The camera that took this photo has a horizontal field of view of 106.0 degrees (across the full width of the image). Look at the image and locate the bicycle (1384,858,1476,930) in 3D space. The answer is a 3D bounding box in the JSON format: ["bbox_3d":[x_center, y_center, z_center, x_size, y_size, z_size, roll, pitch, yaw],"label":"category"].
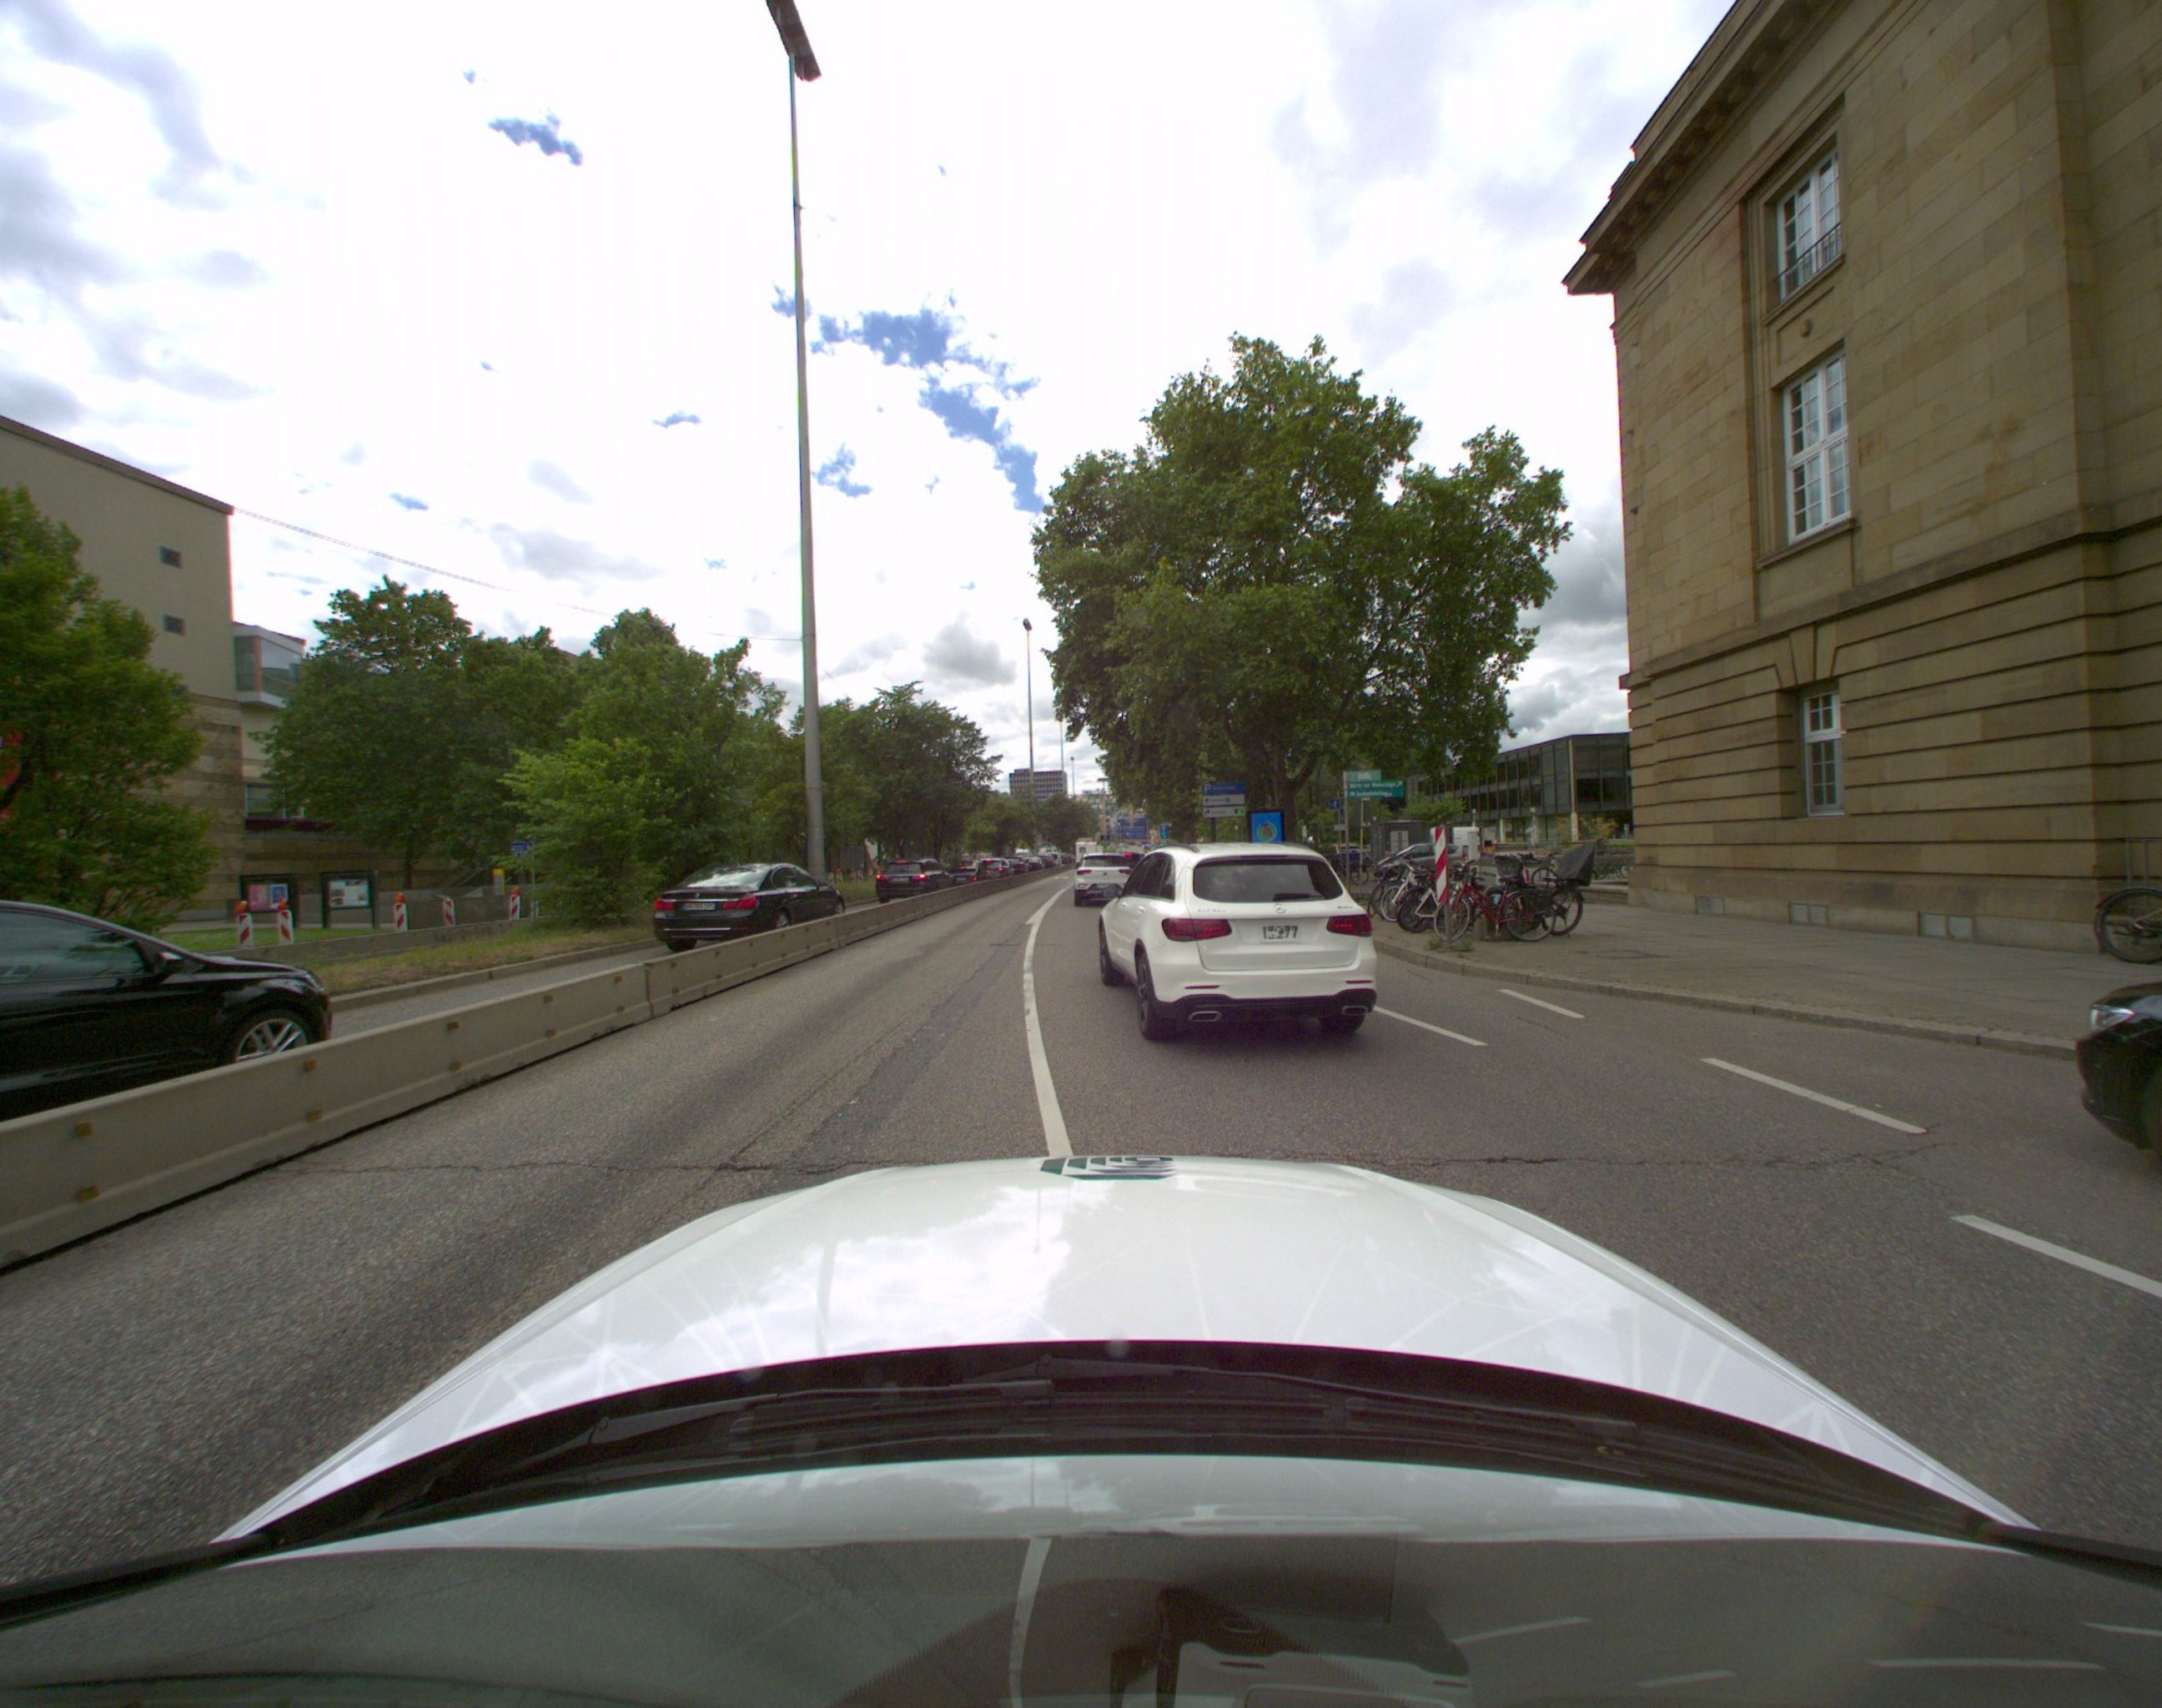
[{"bbox_3d":[5.803,0.645,13.516,1.617,1.130,0.405,-1,0,-24],"label":"bicycle"}]

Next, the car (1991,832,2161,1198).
[{"bbox_3d":[5.306,0.600,1.754,1.782,1.486,4.324,-3,-1,0],"label":"car"}]

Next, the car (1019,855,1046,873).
[{"bbox_3d":[-3.720,0.739,62.857,1.653,1.319,3.549,-1,0,2],"label":"car"}]

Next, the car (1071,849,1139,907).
[{"bbox_3d":[0.657,0.681,24.875,1.792,1.608,3.751,-1,0,-3],"label":"car"}]

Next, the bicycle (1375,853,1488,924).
[{"bbox_3d":[6.247,0.602,14.569,1.752,1.209,0.604,-1,0,-2],"label":"bicycle"}]

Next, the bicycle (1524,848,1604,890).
[{"bbox_3d":[13.688,0.432,23.108,2.003,1.125,0.389,-2,-1,1],"label":"bicycle"}]

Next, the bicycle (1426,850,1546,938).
[{"bbox_3d":[5.956,0.574,12.048,1.529,1.257,0.546,-1,0,20],"label":"bicycle"}]

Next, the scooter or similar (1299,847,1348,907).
[{"bbox_3d":[5.581,0.523,18.835,0.723,1.331,1.414,-1,-1,1],"label":"scooter or similar"}]

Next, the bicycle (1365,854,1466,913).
[{"bbox_3d":[6.310,0.557,15.424,1.715,1.091,0.382,-1,0,14],"label":"bicycle"}]

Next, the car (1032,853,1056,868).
[{"bbox_3d":[-3.333,0.610,74.391,1.651,1.319,3.553,-1,0,6],"label":"car"}]

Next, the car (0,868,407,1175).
[{"bbox_3d":[-6.053,0.837,4.250,1.655,1.454,4.194,-1,0,-2],"label":"car"}]

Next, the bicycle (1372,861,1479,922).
[{"bbox_3d":[6.327,0.681,15.024,1.717,1.091,0.576,-1,0,10],"label":"bicycle"}]

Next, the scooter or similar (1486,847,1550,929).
[{"bbox_3d":[7.141,0.537,13.357,0.559,1.278,1.151,-1,0,8],"label":"scooter or similar"}]

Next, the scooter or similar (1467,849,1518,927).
[{"bbox_3d":[6.816,0.541,13.528,0.423,1.224,1.316,0,-1,12],"label":"scooter or similar"}]

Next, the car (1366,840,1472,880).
[{"bbox_3d":[14.390,0.240,34.852,3.821,1.568,1.680,-2,0,2],"label":"car"}]

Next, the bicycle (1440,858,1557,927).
[{"bbox_3d":[6.438,0.589,12.610,1.552,1.028,0.437,-1,0,13],"label":"bicycle"}]

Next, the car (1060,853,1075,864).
[{"bbox_3d":[-1.775,0.579,106.430,1.652,1.319,3.551,-1,0,4],"label":"car"}]

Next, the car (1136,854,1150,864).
[{"bbox_3d":[8.464,0.724,111.397,1.938,1.319,4.020,-1,0,4],"label":"car"}]

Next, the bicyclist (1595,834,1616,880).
[{"bbox_3d":[20.341,0.123,31.594,0.435,1.748,0.474,-2,0,-6],"label":"bicyclist"}]

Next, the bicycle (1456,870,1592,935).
[{"bbox_3d":[6.653,0.732,12.314,1.713,0.917,0.617,-2,-1,20],"label":"bicycle"}]

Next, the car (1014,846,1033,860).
[{"bbox_3d":[-8.198,-0.166,116.765,2.107,1.969,5.582,-2,0,3],"label":"car"}]

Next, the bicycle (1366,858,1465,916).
[{"bbox_3d":[6.474,0.627,15.819,1.715,1.091,0.427,-1,0,14],"label":"bicycle"}]

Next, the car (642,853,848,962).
[{"bbox_3d":[-5.867,0.836,15.003,1.919,1.636,4.931,-1,0,-3],"label":"car"}]

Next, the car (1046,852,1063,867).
[{"bbox_3d":[-2.802,0.625,86.267,1.654,1.513,3.546,-2,-1,0],"label":"car"}]

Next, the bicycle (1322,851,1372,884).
[{"bbox_3d":[10.347,0.506,31.696,1.776,1.221,0.493,-2,0,4],"label":"bicycle"}]

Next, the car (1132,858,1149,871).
[{"bbox_3d":[6.754,1.148,92.588,1.938,1.428,4.020,-1,0,4],"label":"car"}]

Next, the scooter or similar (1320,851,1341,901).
[{"bbox_3d":[6.540,0.560,21.359,0.428,1.280,1.439,-1,-1,13],"label":"scooter or similar"}]

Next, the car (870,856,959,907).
[{"bbox_3d":[-5.508,0.868,27.630,1.809,1.499,4.771,-2,0,2],"label":"car"}]

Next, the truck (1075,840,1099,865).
[{"bbox_3d":[0.762,-0.162,94.838,2.611,2.861,7.081,-1,0,2],"label":"truck"}]

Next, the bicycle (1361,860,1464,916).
[{"bbox_3d":[6.638,0.671,16.398,1.844,1.091,0.668,-1,0,15],"label":"bicycle"}]

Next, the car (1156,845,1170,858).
[{"bbox_3d":[12.858,-0.422,128.196,1.985,2.014,4.004,-1,0,4],"label":"car"}]

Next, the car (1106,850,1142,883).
[{"bbox_3d":[2.227,0.627,42.865,1.654,1.639,3.547,-1,0,0],"label":"car"}]

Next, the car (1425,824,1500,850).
[{"bbox_3d":[36.881,-1.651,78.845,6.080,2.260,2.404,-2,0,4],"label":"car"}]

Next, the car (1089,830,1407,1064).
[{"bbox_3d":[1.245,0.671,8.064,1.786,1.625,4.427,-1,0,-7],"label":"car"}]

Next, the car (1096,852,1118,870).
[{"bbox_3d":[2.036,0.549,64.040,1.653,1.413,3.549,-1,-1,2],"label":"car"}]

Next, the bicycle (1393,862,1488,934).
[{"bbox_3d":[5.953,0.702,13.472,1.617,1.130,0.466,-1,0,-24],"label":"bicycle"}]

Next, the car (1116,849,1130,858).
[{"bbox_3d":[6.124,-0.065,118.863,1.938,1.319,4.020,-1,0,4],"label":"car"}]

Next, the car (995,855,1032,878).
[{"bbox_3d":[-4.344,0.784,52.943,1.768,1.420,4.003,-2,0,3],"label":"car"}]

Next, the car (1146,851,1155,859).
[{"bbox_3d":[15.277,0.226,179.519,1.751,1.669,4.171,-2,0,3],"label":"car"}]

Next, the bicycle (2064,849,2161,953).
[{"bbox_3d":[10.478,0.449,7.607,0.239,0.997,1.963,-2,-1,2],"label":"bicycle"}]

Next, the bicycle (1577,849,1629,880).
[{"bbox_3d":[20.073,0.388,31.309,1.747,1.131,0.443,-2,0,-6],"label":"bicycle"}]

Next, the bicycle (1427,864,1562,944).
[{"bbox_3d":[5.858,0.700,11.637,1.648,1.074,0.588,-1,0,21],"label":"bicycle"}]

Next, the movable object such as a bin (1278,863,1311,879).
[{"bbox_3d":[9.035,0.726,34.457,1.291,0.652,0.731,0,-1,10],"label":"movable object such as a bin"}]

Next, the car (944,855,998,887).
[{"bbox_3d":[-5.068,0.756,38.031,1.671,1.367,4.545,-2,0,2],"label":"car"}]

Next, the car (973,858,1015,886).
[{"bbox_3d":[-4.663,0.966,44.187,1.655,1.436,3.962,-1,-1,2],"label":"car"}]

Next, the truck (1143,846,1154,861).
[{"bbox_3d":[18.642,-0.221,225.103,2.865,4.103,6.644,-1,0,3],"label":"truck"}]

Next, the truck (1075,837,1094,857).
[{"bbox_3d":[0.574,-0.985,124.610,2.682,2.992,5.640,0,-1,2],"label":"truck"}]

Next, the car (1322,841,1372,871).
[{"bbox_3d":[15.385,0.067,47.244,1.753,1.552,4.031,-2,1,3],"label":"car"}]
